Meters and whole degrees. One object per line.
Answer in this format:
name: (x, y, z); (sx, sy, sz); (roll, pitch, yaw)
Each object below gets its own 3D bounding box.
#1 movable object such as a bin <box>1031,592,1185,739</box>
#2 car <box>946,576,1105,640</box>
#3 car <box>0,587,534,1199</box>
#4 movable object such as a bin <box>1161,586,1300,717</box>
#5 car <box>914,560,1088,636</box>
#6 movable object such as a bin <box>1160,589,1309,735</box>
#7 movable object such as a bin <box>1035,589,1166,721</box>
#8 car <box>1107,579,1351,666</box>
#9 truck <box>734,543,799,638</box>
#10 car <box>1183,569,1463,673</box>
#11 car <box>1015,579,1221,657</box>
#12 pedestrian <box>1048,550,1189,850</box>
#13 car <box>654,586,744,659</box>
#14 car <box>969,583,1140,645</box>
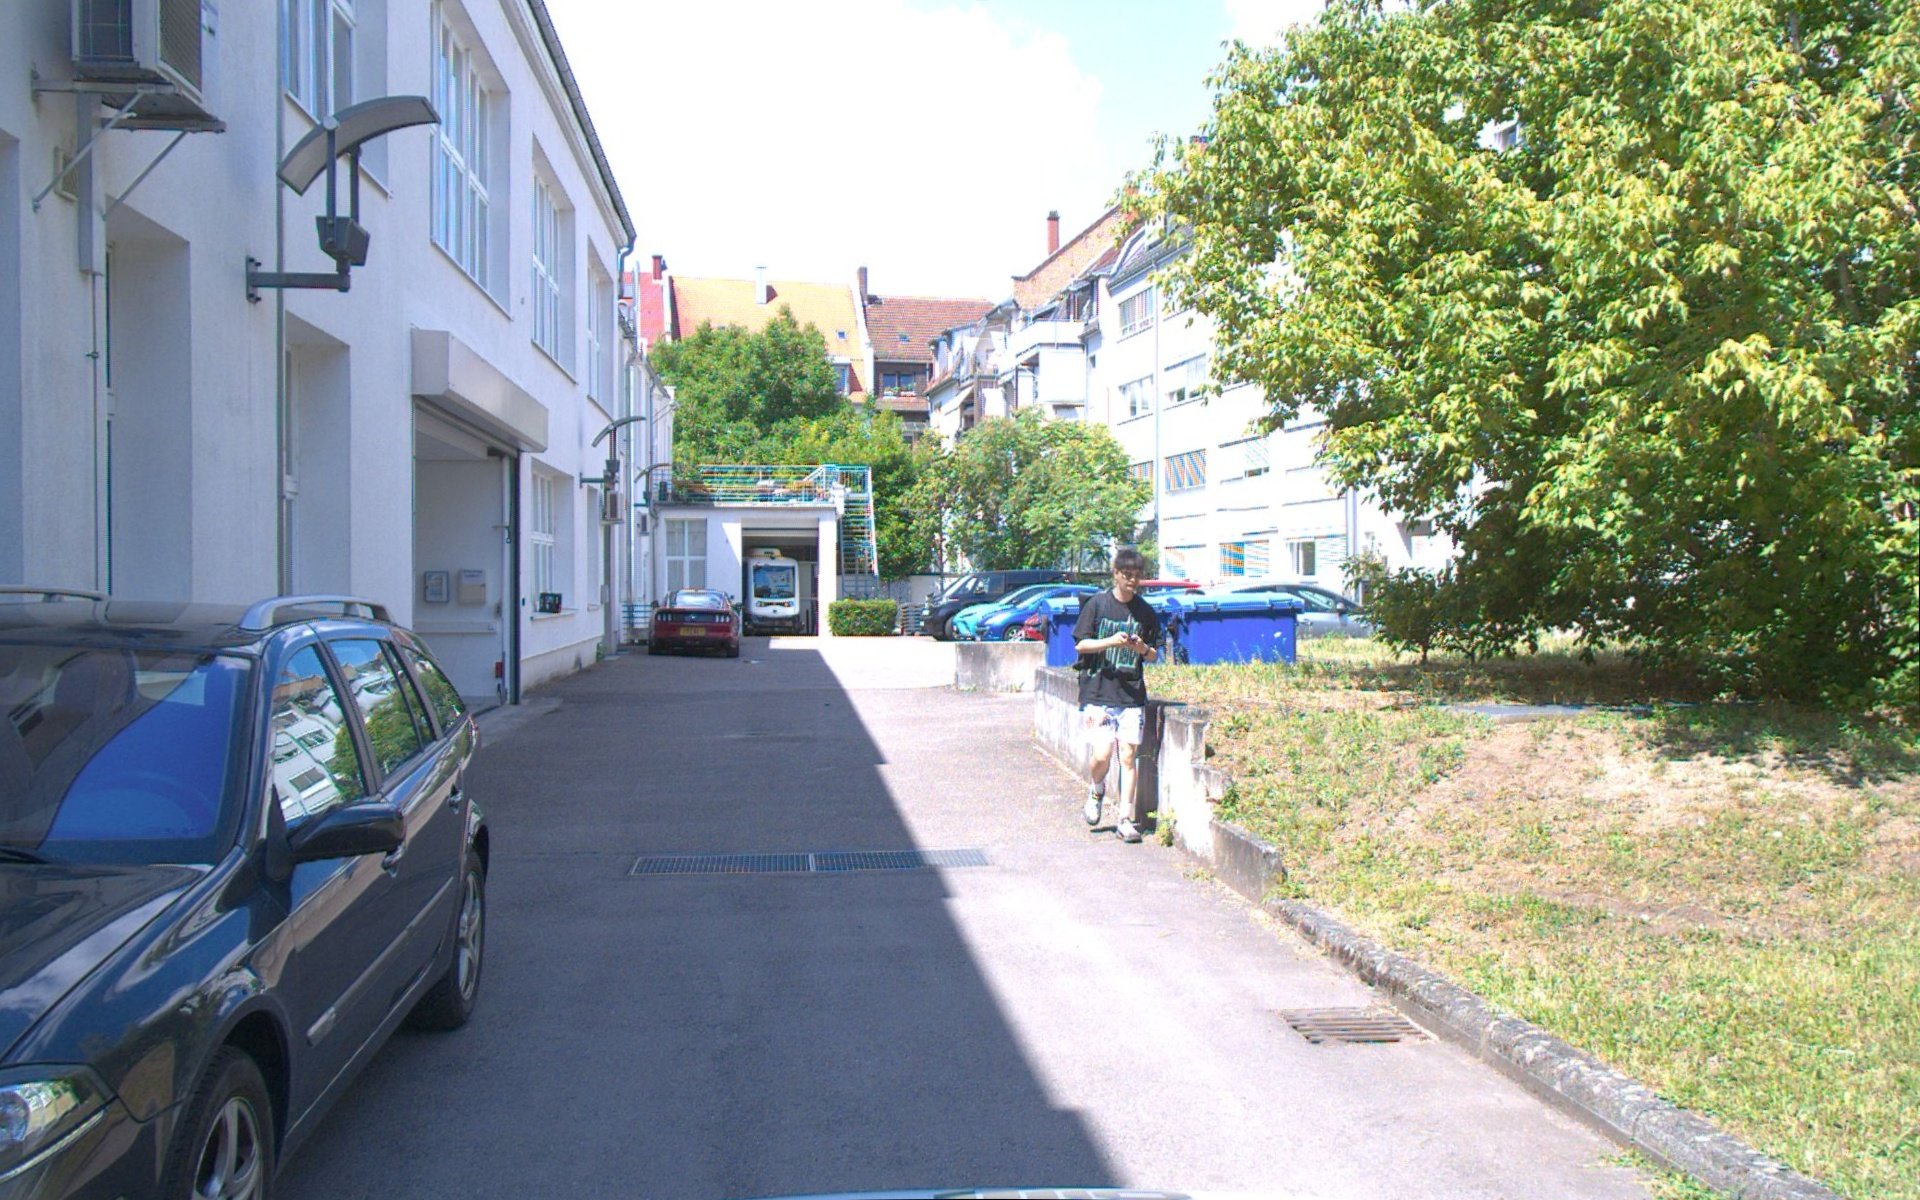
movable object such as a bin: (1.418, 0.610, 16.102); (1.312, 1.350, 1.159); (-1, 1, -4)
car: (1.705, 0.191, 43.483); (3.913, 1.561, 1.801); (-1, 1, -9)
car: (-2.300, 0.722, 4.113); (1.721, 1.455, 4.381); (0, 1, -5)
movable object such as a bin: (2.925, 0.538, 18.029); (1.193, 1.350, 1.158); (-1, 1, -9)
car: (1.114, -0.074, 46.468); (4.590, 1.992, 2.073); (-1, 1, -9)
movable object such as a bin: (2.677, 0.581, 16.278); (1.192, 1.350, 1.159); (-1, 1, -4)
movable object such as a bin: (1.500, 0.570, 17.876); (1.170, 1.350, 1.158); (-1, 1, -9)
car: (4.730, 0.365, 29.357); (3.913, 1.414, 1.801); (-1, 1, -9)
truck: (-6.428, -0.323, 54.614); (1.756, 2.988, 4.640); (0, 0, -12)
car: (5.649, 0.301, 25.933); (3.913, 1.504, 1.801); (-1, 1, -9)
car: (3.211, 0.340, 33.990); (3.913, 1.504, 1.801); (-1, 1, -9)
pedestrian: (0.970, 0.591, 10.271); (0.742, 1.786, 0.750); (0, 1, -6)
car: (-5.568, 0.439, 35.605); (1.764, 1.414, 3.994); (-1, 1, -7)
car: (2.294, 0.317, 40.558); (3.913, 1.414, 1.801); (-1, 1, -9)
